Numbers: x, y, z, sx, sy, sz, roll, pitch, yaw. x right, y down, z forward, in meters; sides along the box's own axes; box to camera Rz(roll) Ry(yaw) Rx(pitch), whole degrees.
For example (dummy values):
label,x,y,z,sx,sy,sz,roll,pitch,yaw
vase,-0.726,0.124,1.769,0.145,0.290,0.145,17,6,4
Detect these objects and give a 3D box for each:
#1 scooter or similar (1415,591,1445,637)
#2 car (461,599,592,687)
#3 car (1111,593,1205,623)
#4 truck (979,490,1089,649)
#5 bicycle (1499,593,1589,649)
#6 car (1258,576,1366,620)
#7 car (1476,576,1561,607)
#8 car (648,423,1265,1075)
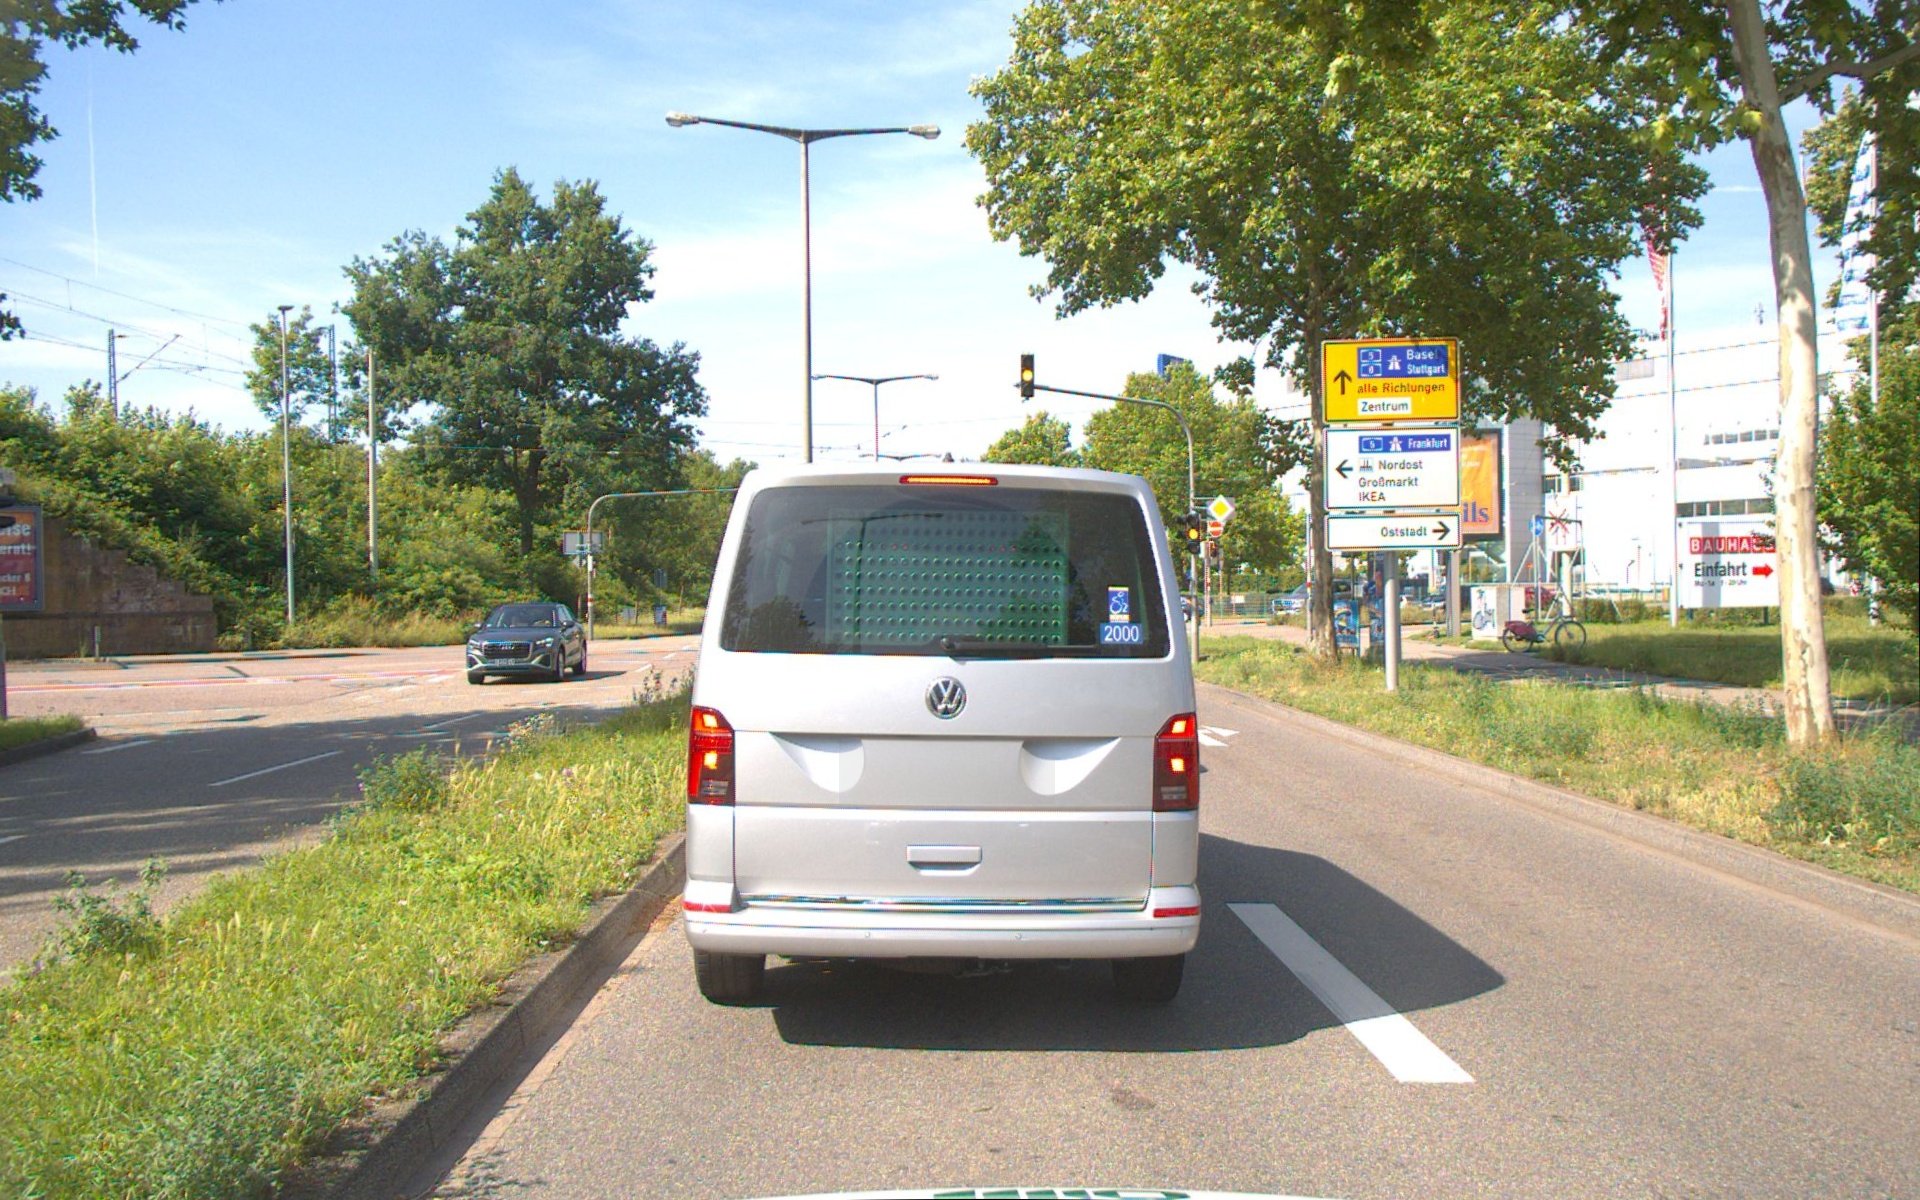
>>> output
label,x,y,z,sx,sy,sz,roll,pitch,yaw
scooter or similar,12.090,0.358,42.577,0.416,1.146,1.123,-1,0,-2
car,-8.570,0.804,33.004,1.827,1.492,3.934,-3,1,-5
car,10.343,0.408,86.495,4.523,1.469,1.779,-1,0,29
truck,1.954,-0.797,46.998,2.501,4.026,8.972,-1,0,-1
bicycle,12.502,0.458,35.452,1.748,1.127,0.504,-3,-1,18
car,14.685,-0.097,68.903,4.578,1.718,1.890,-1,0,-38
car,27.859,-0.432,82.466,4.578,1.469,1.758,-1,0,-38
car,-0.044,0.453,7.640,1.902,2.006,5.021,0,0,-1
